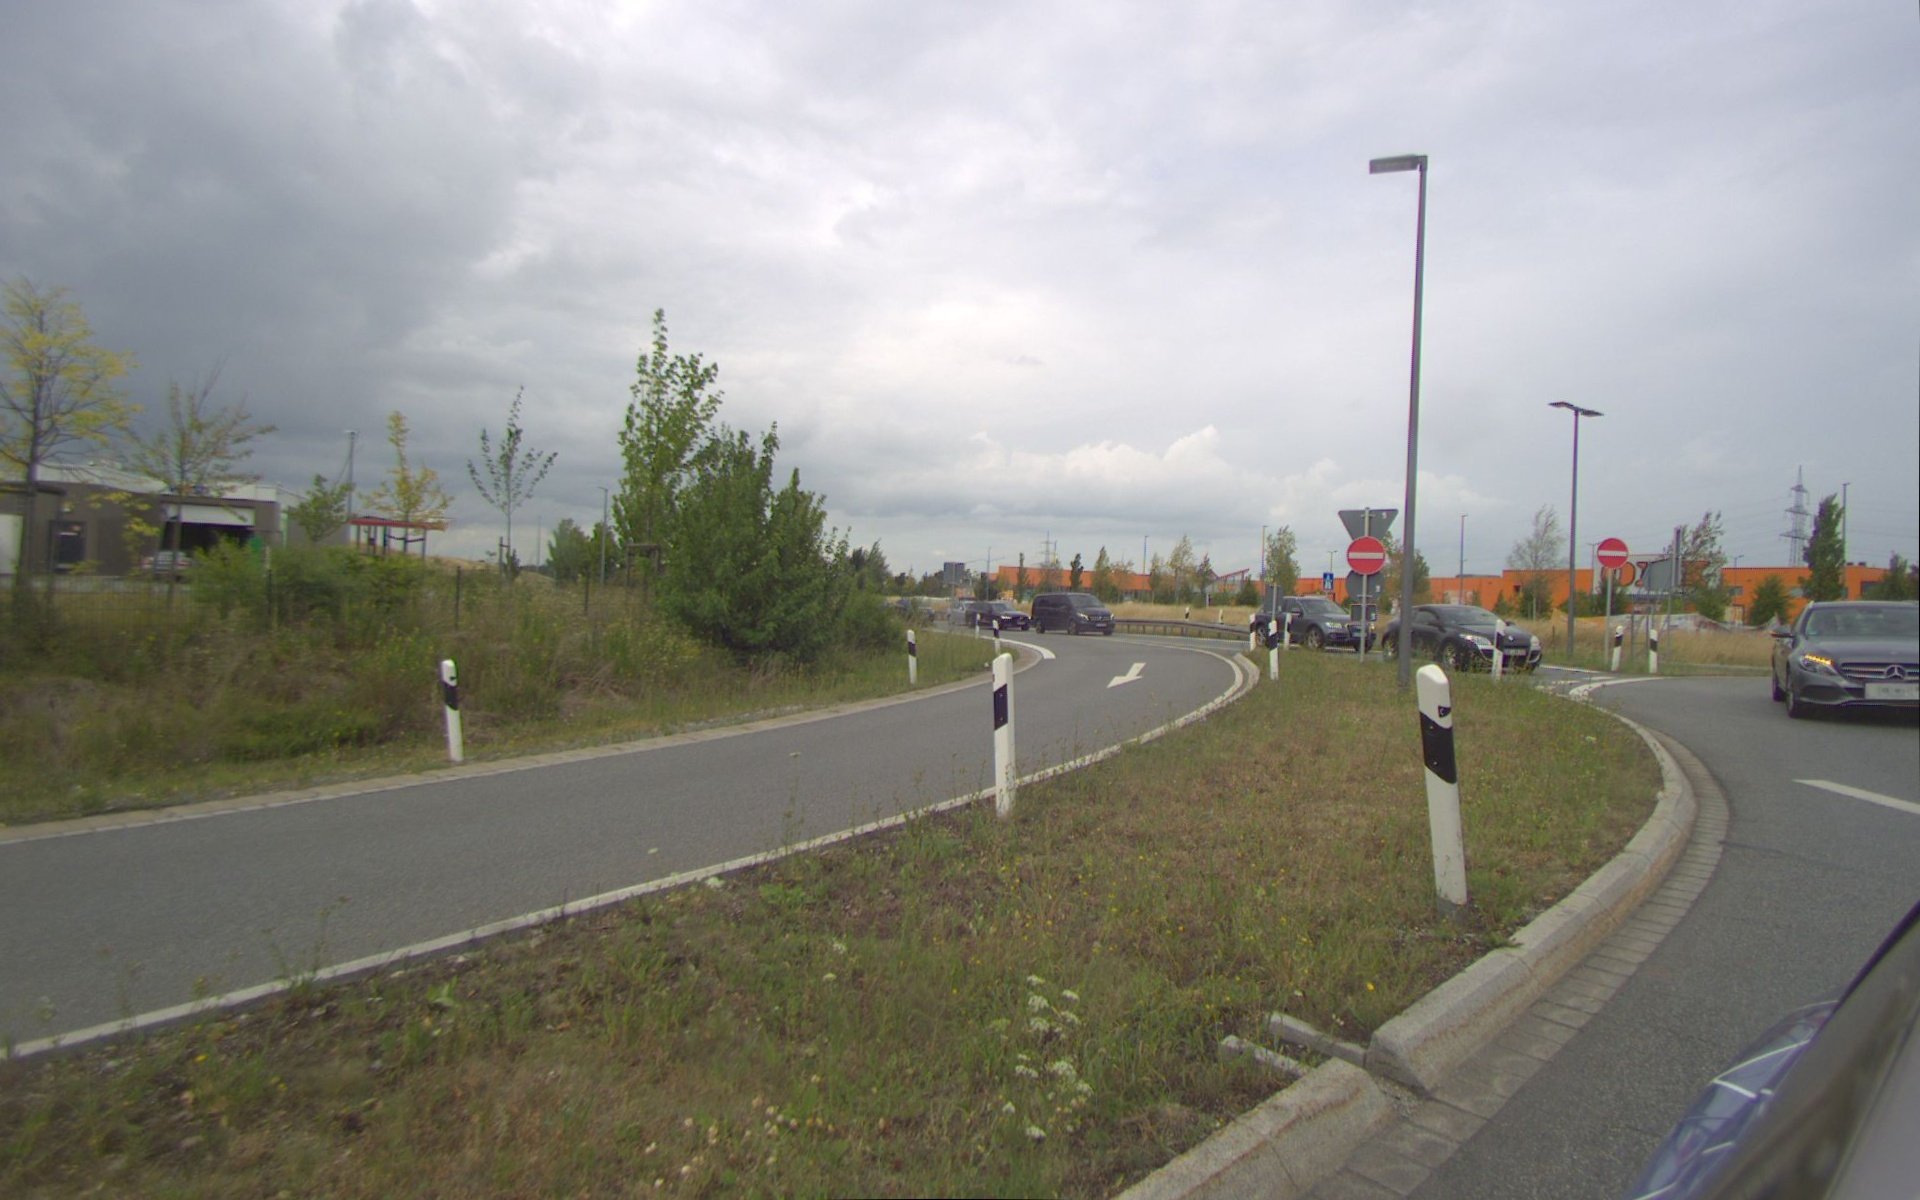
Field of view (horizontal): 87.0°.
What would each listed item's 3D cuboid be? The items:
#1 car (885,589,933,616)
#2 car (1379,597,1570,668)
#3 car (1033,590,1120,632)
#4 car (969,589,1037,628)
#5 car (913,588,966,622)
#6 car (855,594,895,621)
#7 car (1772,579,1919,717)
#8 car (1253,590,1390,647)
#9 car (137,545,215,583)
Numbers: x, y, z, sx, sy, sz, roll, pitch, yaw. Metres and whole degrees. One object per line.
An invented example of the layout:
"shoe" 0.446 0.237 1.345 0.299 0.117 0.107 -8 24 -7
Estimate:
"car" -3.398 0.170 66.758 1.726 1.685 4.007 1 0 -25
"car" 11.062 0.644 22.127 1.807 1.387 4.148 1 0 -5
"car" 5.087 0.468 44.834 1.686 1.743 4.754 1 0 -23
"car" 2.167 0.400 52.148 1.769 1.906 4.006 1 0 -26
"car" -1.227 0.275 59.914 1.768 1.906 4.008 1 0 -23
"car" -6.251 0.506 74.323 1.726 1.906 4.007 1 0 -23
"car" 11.699 0.560 12.942 1.896 1.516 4.280 0 -1 37
"car" 10.963 0.523 31.015 1.844 1.603 4.285 1 0 -15
"car" -32.538 -1.456 42.095 1.635 1.449 4.007 1 0 -24
